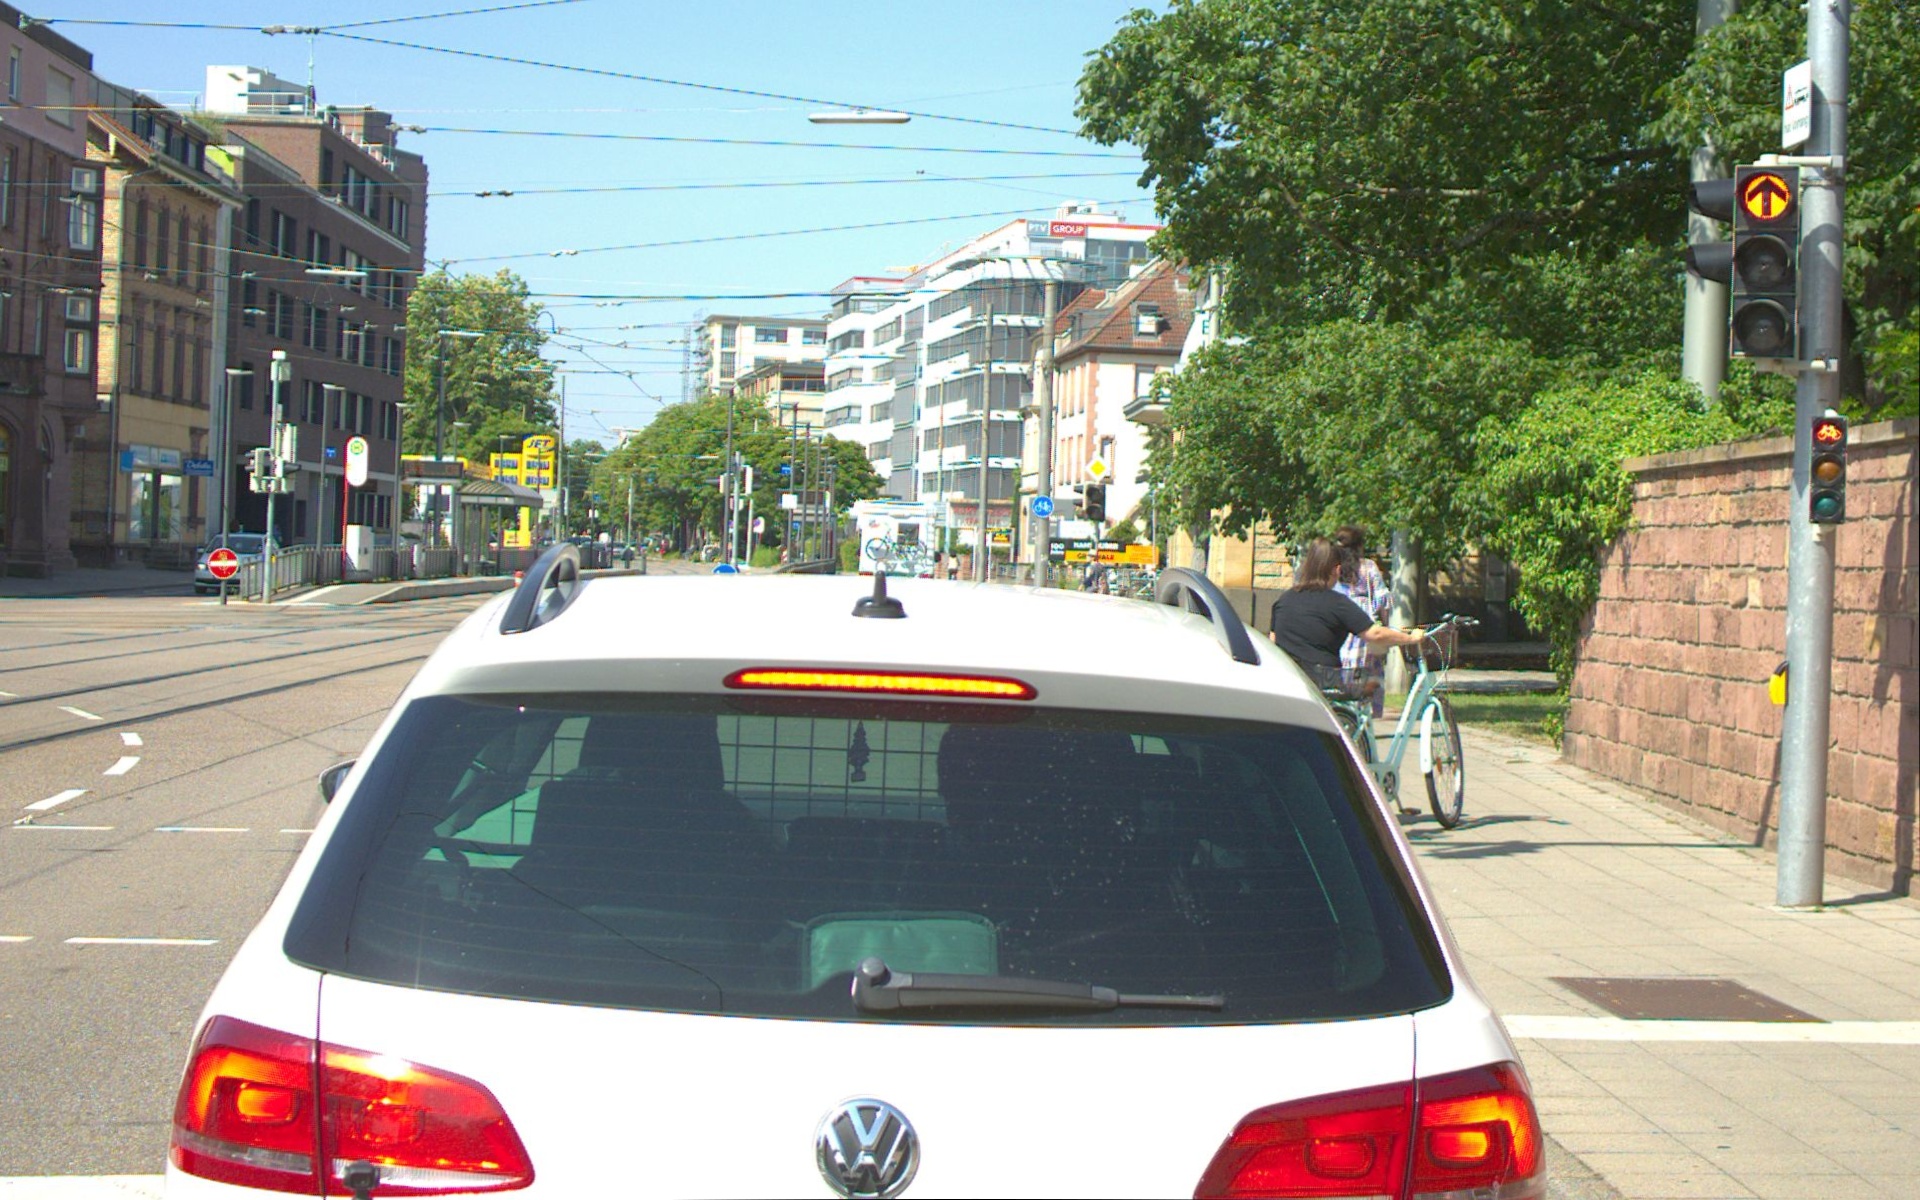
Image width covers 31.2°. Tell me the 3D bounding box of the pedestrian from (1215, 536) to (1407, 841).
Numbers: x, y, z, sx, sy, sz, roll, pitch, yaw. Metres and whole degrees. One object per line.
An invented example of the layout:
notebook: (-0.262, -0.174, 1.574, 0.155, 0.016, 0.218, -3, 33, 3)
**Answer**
pedestrian: (1.866, 0.451, 18.266, 0.675, 1.566, 0.746, 2, 2, 45)

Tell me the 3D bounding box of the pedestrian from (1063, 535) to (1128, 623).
pedestrian: (2.705, -0.406, 68.485, 0.862, 1.737, 0.975, 0, 0, -37)

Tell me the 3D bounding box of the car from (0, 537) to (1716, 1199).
car: (-0.160, 0.628, 5.555, 1.808, 1.443, 4.000, 0, 1, -1)

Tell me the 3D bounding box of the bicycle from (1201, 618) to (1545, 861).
bicycle: (2.178, 0.692, 17.906, 0.710, 1.086, 2.021, 2, 3, 43)

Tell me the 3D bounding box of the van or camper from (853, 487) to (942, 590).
van or camper: (-1.892, -1.880, 106.725, 2.567, 3.082, 5.703, 0, 0, 1)

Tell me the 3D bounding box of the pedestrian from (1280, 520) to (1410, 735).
pedestrian: (2.991, 0.211, 26.805, 0.953, 1.645, 0.975, 0, 0, 3)

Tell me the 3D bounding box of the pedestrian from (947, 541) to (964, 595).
pedestrian: (-0.193, -1.378, 148.087, 0.690, 2.317, 1.232, 0, 0, 1)

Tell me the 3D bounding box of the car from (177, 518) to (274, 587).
car: (-17.759, -1.131, 83.233, 1.740, 1.612, 4.000, 0, 0, -4)
